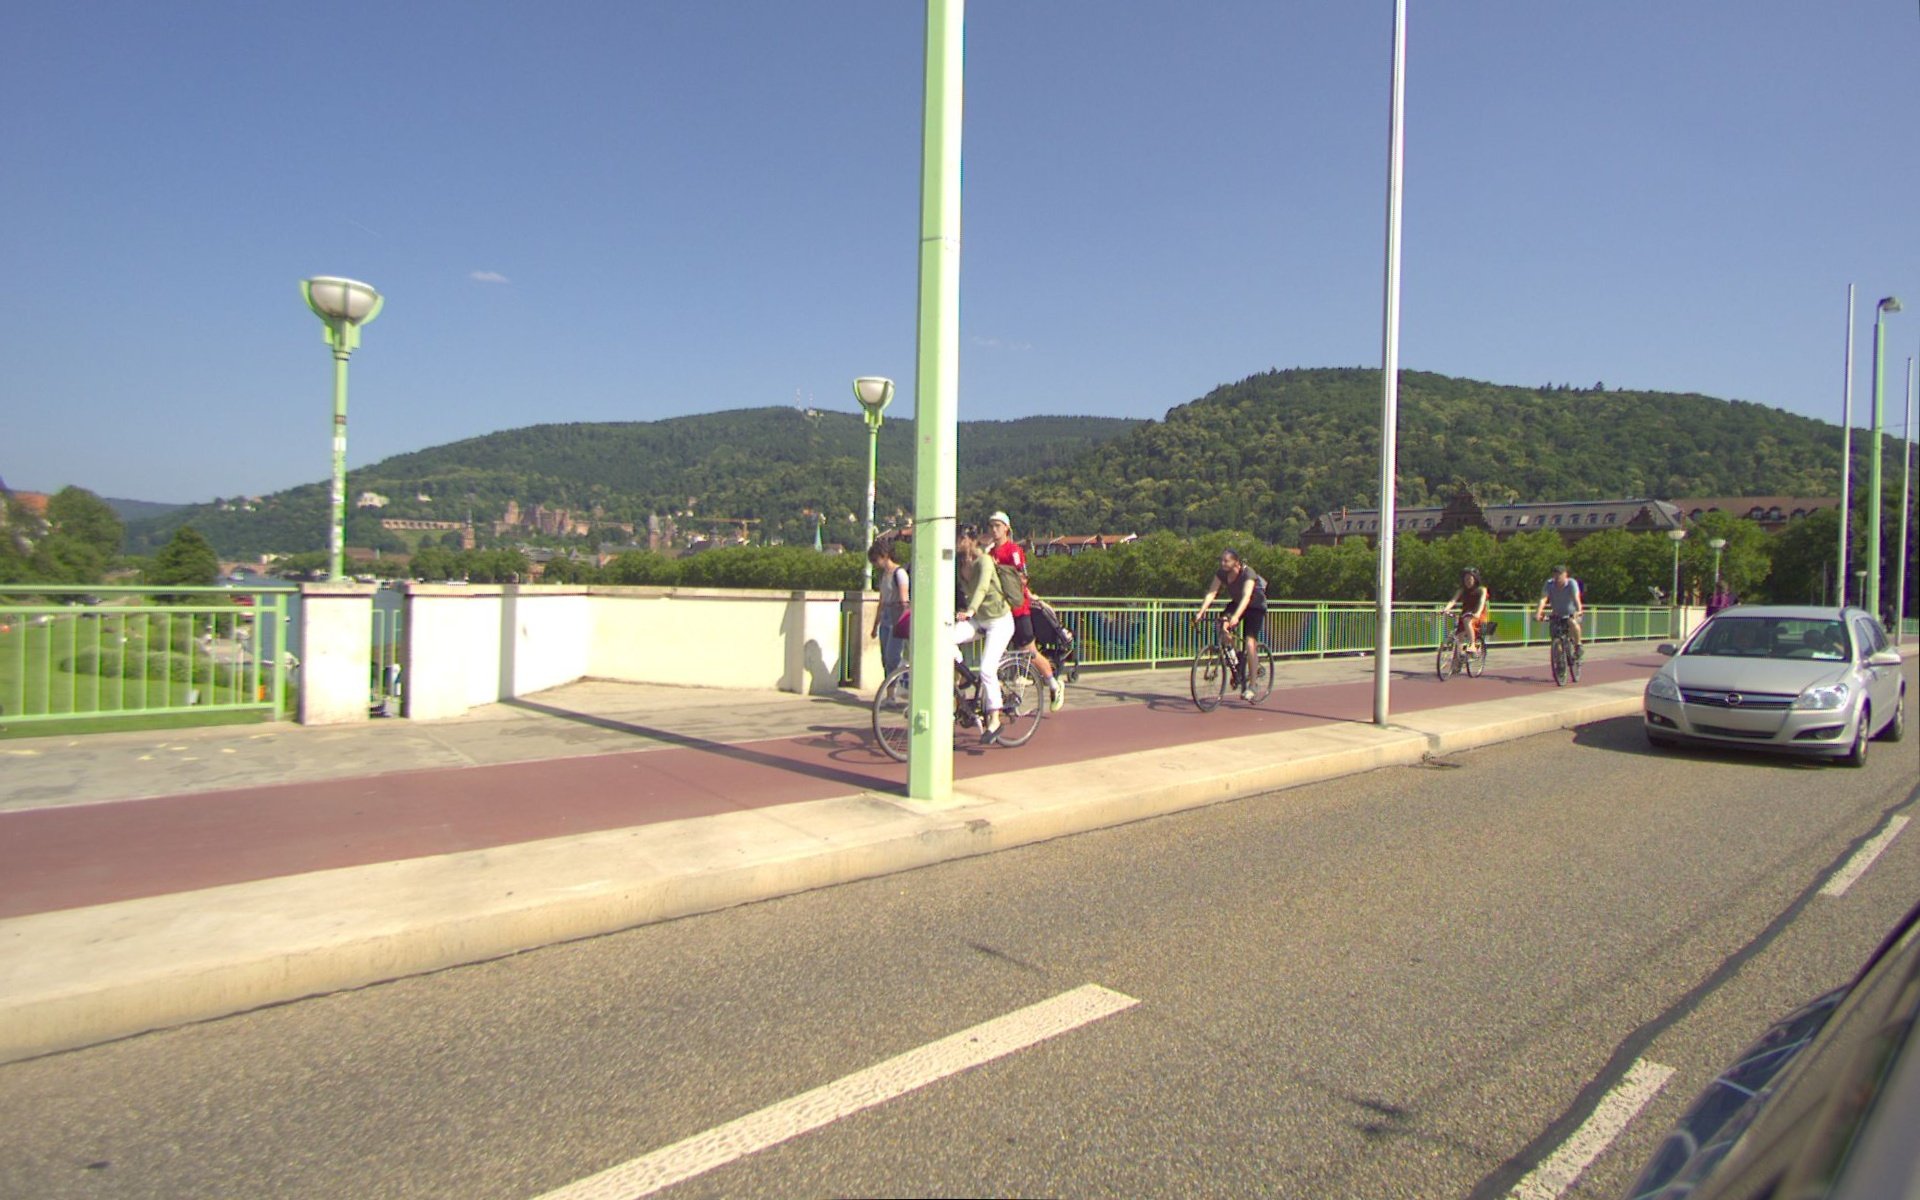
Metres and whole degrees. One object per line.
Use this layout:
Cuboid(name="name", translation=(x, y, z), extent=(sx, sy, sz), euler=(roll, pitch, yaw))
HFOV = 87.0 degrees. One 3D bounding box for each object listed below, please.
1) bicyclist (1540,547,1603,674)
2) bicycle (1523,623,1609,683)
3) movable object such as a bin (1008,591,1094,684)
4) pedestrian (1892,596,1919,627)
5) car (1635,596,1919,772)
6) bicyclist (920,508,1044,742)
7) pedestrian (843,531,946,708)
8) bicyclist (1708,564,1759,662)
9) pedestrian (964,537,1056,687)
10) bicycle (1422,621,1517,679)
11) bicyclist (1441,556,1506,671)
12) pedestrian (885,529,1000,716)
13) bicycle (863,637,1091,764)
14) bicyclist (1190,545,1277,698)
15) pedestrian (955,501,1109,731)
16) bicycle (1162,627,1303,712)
Cuboid(name="bicyclist", translation=(9.127, 0.144, 15.103), extent=(0.690, 1.842, 0.587), euler=(0, 2, -43))
Cuboid(name="bicycle", translation=(9.042, 0.767, 15.065), extent=(1.835, 0.775, 0.594), euler=(0, 2, -43))
Cuboid(name="movable object such as a bin", translation=(1.151, 0.447, 12.725), extent=(0.917, 1.104, 0.583), euler=(0, 2, -41))
Cuboid(name="pedestrian", translation=(54.083, 0.655, 57.887), extent=(1.063, 1.683, 0.949), euler=(1, 3, -41))
Cuboid(name="car", translation=(8.736, 0.705, 10.611), extent=(4.250, 1.484, 1.708), euler=(0, 0, -41))
Cuboid(name="bicyclist", translation=(0.168, 0.166, 7.682), extent=(0.690, 1.671, 0.587), euler=(0, 2, -42))
Cuboid(name="pedestrian", translation=(-0.657, 0.173, 10.105), extent=(0.733, 1.679, 0.668), euler=(0, 2, -41))
Cuboid(name="bicyclist", translation=(14.621, 0.234, 19.132), extent=(0.660, 1.791, 0.587), euler=(1, 1, -40))
Cuboid(name="pedestrian", translation=(0.598, 0.124, 12.126), extent=(0.844, 1.727, 0.664), euler=(0, 2, -41))
Cuboid(name="bicycle", translation=(7.703, 0.732, 15.260), extent=(1.833, 0.775, 0.595), euler=(0, 2, -40))
Cuboid(name="bicyclist", translation=(7.745, 0.192, 15.269), extent=(0.689, 1.670, 0.606), euler=(0, 2, -40))
Cuboid(name="pedestrian", translation=(-0.166, 0.185, 9.615), extent=(0.810, 1.679, 0.664), euler=(0, 2, -41))
Cuboid(name="bicycle", translation=(0.175, 0.713, 7.710), extent=(1.835, 0.775, 0.594), euler=(0, 2, -43))
Cuboid(name="bicyclist", translation=(2.942, 0.214, 10.890), extent=(0.690, 1.578, 0.587), euler=(0, 2, -42))
Cuboid(name="pedestrian", translation=(0.658, 0.116, 9.221), extent=(1.108, 1.948, 0.812), euler=(0, 2, -41))
Cuboid(name="bicycle", translation=(2.971, 0.720, 10.940), extent=(1.800, 0.775, 0.594), euler=(0, 2, -43))
